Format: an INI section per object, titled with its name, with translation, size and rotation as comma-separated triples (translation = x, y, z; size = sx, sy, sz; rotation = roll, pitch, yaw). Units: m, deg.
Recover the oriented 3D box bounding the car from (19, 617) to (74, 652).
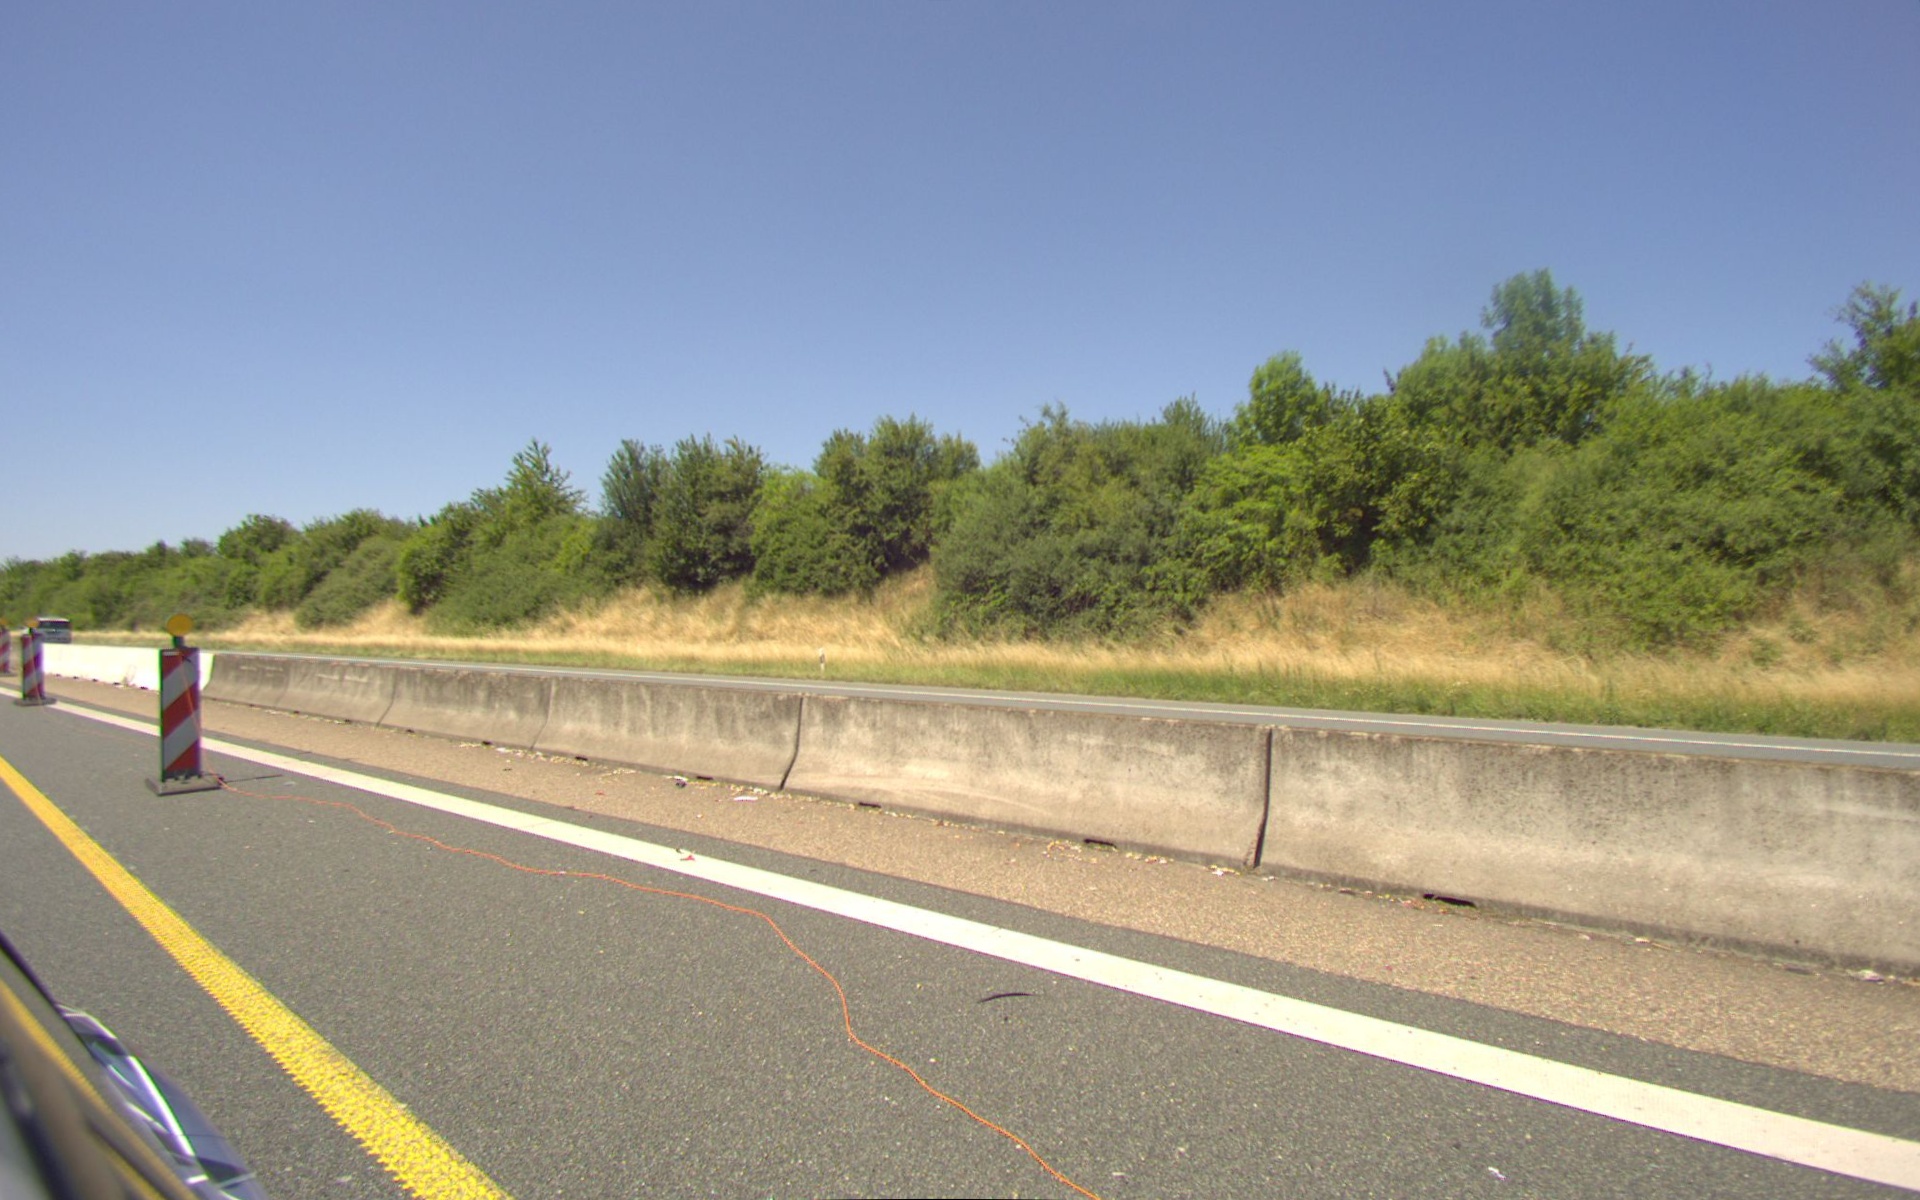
[car]
translation = -57.721, 2.130, 63.910
size = 4.935, 2.101, 1.943
rotation = -1, -2, 40
